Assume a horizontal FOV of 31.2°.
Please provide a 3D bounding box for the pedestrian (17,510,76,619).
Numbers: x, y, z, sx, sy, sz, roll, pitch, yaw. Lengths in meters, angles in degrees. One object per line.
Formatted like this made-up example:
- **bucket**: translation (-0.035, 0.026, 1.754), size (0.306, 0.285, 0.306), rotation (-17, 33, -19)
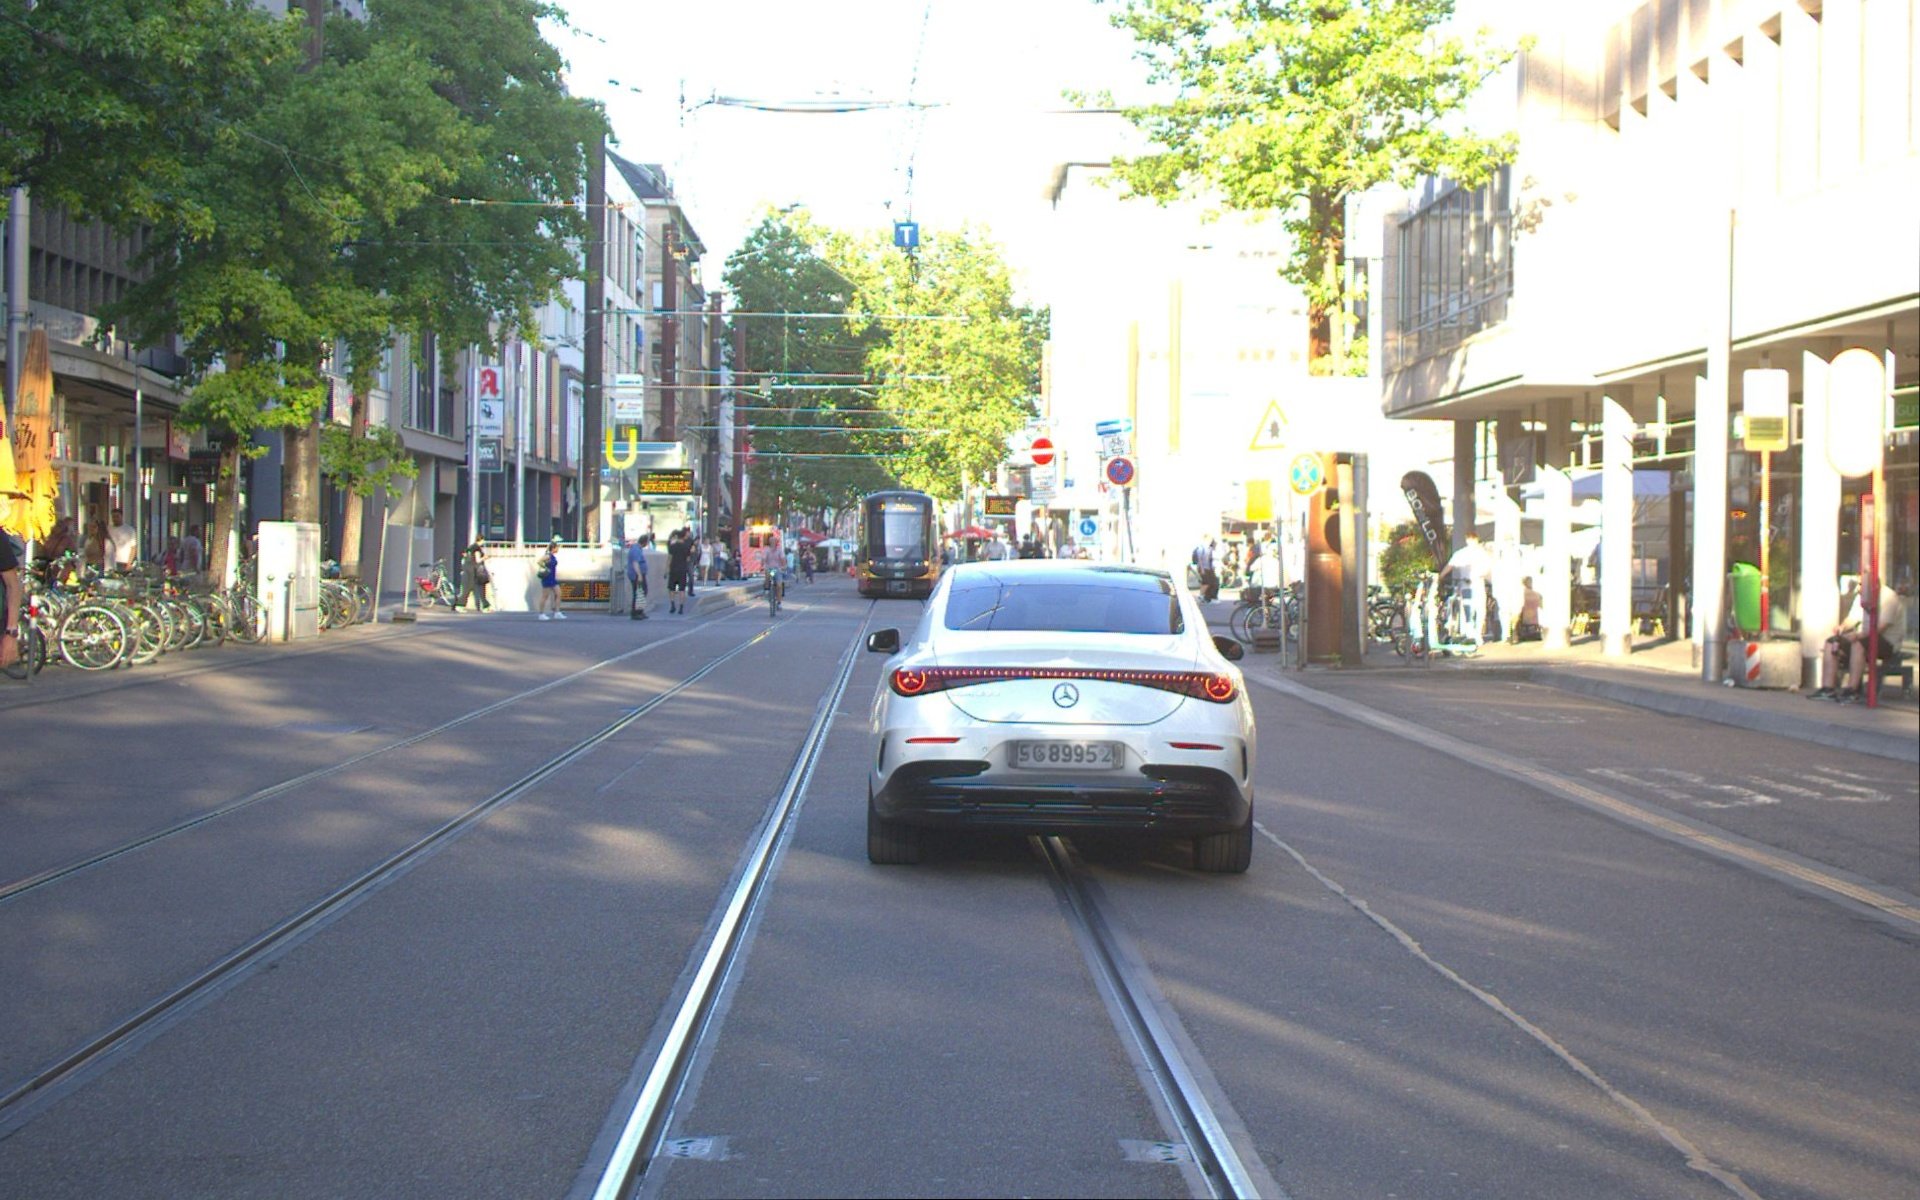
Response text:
- **pedestrian**: translation (-13.081, -0.506, 49.233), size (0.714, 1.542, 0.685), rotation (1, 1, -7)

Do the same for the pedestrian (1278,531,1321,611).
- **pedestrian**: translation (7.690, -0.664, 77.886), size (0.840, 1.779, 0.804), rotation (-1, 1, -1)

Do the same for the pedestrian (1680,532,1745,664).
- **pedestrian**: translation (9.591, -0.031, 43.832), size (0.637, 1.647, 0.781), rotation (1, 1, 0)

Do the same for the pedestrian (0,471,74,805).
- **pedestrian**: translation (-5.445, 0.185, 18.956), size (0.841, 1.795, 0.790), rotation (3, 1, 0)

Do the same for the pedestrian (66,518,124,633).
- **pedestrian**: translation (-12.405, -0.357, 49.314), size (0.714, 1.634, 0.685), rotation (1, 1, -7)

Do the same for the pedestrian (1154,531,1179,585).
- **pedestrian**: translation (6.840, -1.389, 113.926), size (0.727, 1.779, 0.707), rotation (1, 1, -1)

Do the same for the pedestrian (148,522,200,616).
- **pedestrian**: translation (-14.761, -0.588, 64.546), size (0.816, 1.755, 0.780), rotation (1, 1, -3)

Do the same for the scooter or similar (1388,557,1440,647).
- **scooter or similar**: translation (6.526, 0.031, 49.393), size (0.527, 1.273, 0.660), rotation (-1, 1, -12)

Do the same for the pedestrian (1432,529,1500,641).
- **pedestrian**: translation (8.059, -0.242, 54.754), size (0.899, 1.739, 0.690), rotation (-3, 1, -1)

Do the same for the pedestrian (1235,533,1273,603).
- **pedestrian**: translation (7.010, -0.760, 81.984), size (0.838, 1.656, 0.785), rotation (1, 1, 1)

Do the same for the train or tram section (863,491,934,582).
- **train or tram section**: translation (-2.474, -2.547, 138.646), size (2.694, 3.504, 11.144), rotation (1, 1, -1)

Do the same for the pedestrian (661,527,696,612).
- **pedestrian**: translation (-6.412, -0.689, 78.353), size (0.540, 1.922, 0.571), rotation (1, 1, 43)

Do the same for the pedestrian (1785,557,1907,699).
- **pedestrian**: translation (8.801, 0.272, 34.170), size (0.833, 1.372, 0.778), rotation (1, 1, -23)

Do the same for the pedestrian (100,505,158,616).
- **pedestrian**: translation (-13.255, -0.626, 54.835), size (0.785, 1.760, 0.537), rotation (0, 1, -25)

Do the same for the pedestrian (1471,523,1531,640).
- **pedestrian**: translation (8.590, -0.303, 54.597), size (0.701, 1.806, 1.033), rotation (-3, 1, -1)

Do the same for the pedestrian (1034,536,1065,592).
- **pedestrian**: translation (2.883, -1.154, 110.859), size (0.960, 1.779, 0.804), rotation (-1, 1, -1)

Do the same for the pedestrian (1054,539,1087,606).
- **pedestrian**: translation (2.813, -0.707, 87.320), size (0.746, 1.692, 0.840), rotation (1, 1, -3)

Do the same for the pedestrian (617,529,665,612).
- **pedestrian**: translation (-6.616, -0.613, 71.414), size (0.905, 1.692, 0.849), rotation (1, 1, 0)

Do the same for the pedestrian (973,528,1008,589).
- **pedestrian**: translation (0.900, -1.240, 101.640), size (0.960, 1.779, 0.804), rotation (-1, 1, -1)

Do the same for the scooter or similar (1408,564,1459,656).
- **scooter or similar**: translation (6.650, 0.137, 48.300), size (0.491, 1.273, 0.660), rotation (-1, 1, -12)

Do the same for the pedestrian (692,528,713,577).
- **pedestrian**: translation (-8.472, -1.572, 113.008), size (0.660, 1.593, 0.573), rotation (1, 1, -2)

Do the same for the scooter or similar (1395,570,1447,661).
- **scooter or similar**: translation (6.549, 0.210, 48.865), size (0.527, 1.273, 0.660), rotation (-1, 1, -12)

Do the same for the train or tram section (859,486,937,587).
- **train or tram section**: translation (-2.280, -2.345, 126.807), size (2.694, 3.504, 12.546), rotation (1, 1, -1)

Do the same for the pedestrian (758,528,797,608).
- **pedestrian**: translation (-4.152, -0.731, 78.180), size (0.800, 1.776, 0.849), rotation (3, 1, -2)

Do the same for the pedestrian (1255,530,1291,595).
- **pedestrian**: translation (8.237, -0.984, 90.523), size (0.817, 1.679, 0.804), rotation (-1, 1, -1)

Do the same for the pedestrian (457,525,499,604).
- **pedestrian**: translation (-10.535, -0.770, 75.155), size (0.837, 1.711, 0.785), rotation (1, 1, -2)

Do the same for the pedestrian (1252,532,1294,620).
- **pedestrian**: translation (6.393, -0.500, 70.290), size (0.748, 1.779, 0.767), rotation (-1, 1, -1)

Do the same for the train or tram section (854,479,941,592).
- **train or tram section**: translation (-2.081, -2.127, 114.256), size (2.694, 3.504, 12.546), rotation (1, 1, -1)

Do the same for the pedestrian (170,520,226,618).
- **pedestrian**: translation (-13.879, -0.568, 62.621), size (0.723, 1.755, 0.818), rotation (0, 1, -36)

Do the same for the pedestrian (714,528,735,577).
- **pedestrian**: translation (-7.755, -1.558, 113.092), size (0.660, 1.593, 0.573), rotation (1, 1, -2)

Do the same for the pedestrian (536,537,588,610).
- **pedestrian**: translation (-8.209, -0.545, 70.911), size (0.955, 1.491, 0.944), rotation (1, 1, 0)

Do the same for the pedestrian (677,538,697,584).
- **pedestrian**: translation (-9.516, -1.355, 119.941), size (0.660, 1.593, 0.573), rotation (1, 1, -2)
